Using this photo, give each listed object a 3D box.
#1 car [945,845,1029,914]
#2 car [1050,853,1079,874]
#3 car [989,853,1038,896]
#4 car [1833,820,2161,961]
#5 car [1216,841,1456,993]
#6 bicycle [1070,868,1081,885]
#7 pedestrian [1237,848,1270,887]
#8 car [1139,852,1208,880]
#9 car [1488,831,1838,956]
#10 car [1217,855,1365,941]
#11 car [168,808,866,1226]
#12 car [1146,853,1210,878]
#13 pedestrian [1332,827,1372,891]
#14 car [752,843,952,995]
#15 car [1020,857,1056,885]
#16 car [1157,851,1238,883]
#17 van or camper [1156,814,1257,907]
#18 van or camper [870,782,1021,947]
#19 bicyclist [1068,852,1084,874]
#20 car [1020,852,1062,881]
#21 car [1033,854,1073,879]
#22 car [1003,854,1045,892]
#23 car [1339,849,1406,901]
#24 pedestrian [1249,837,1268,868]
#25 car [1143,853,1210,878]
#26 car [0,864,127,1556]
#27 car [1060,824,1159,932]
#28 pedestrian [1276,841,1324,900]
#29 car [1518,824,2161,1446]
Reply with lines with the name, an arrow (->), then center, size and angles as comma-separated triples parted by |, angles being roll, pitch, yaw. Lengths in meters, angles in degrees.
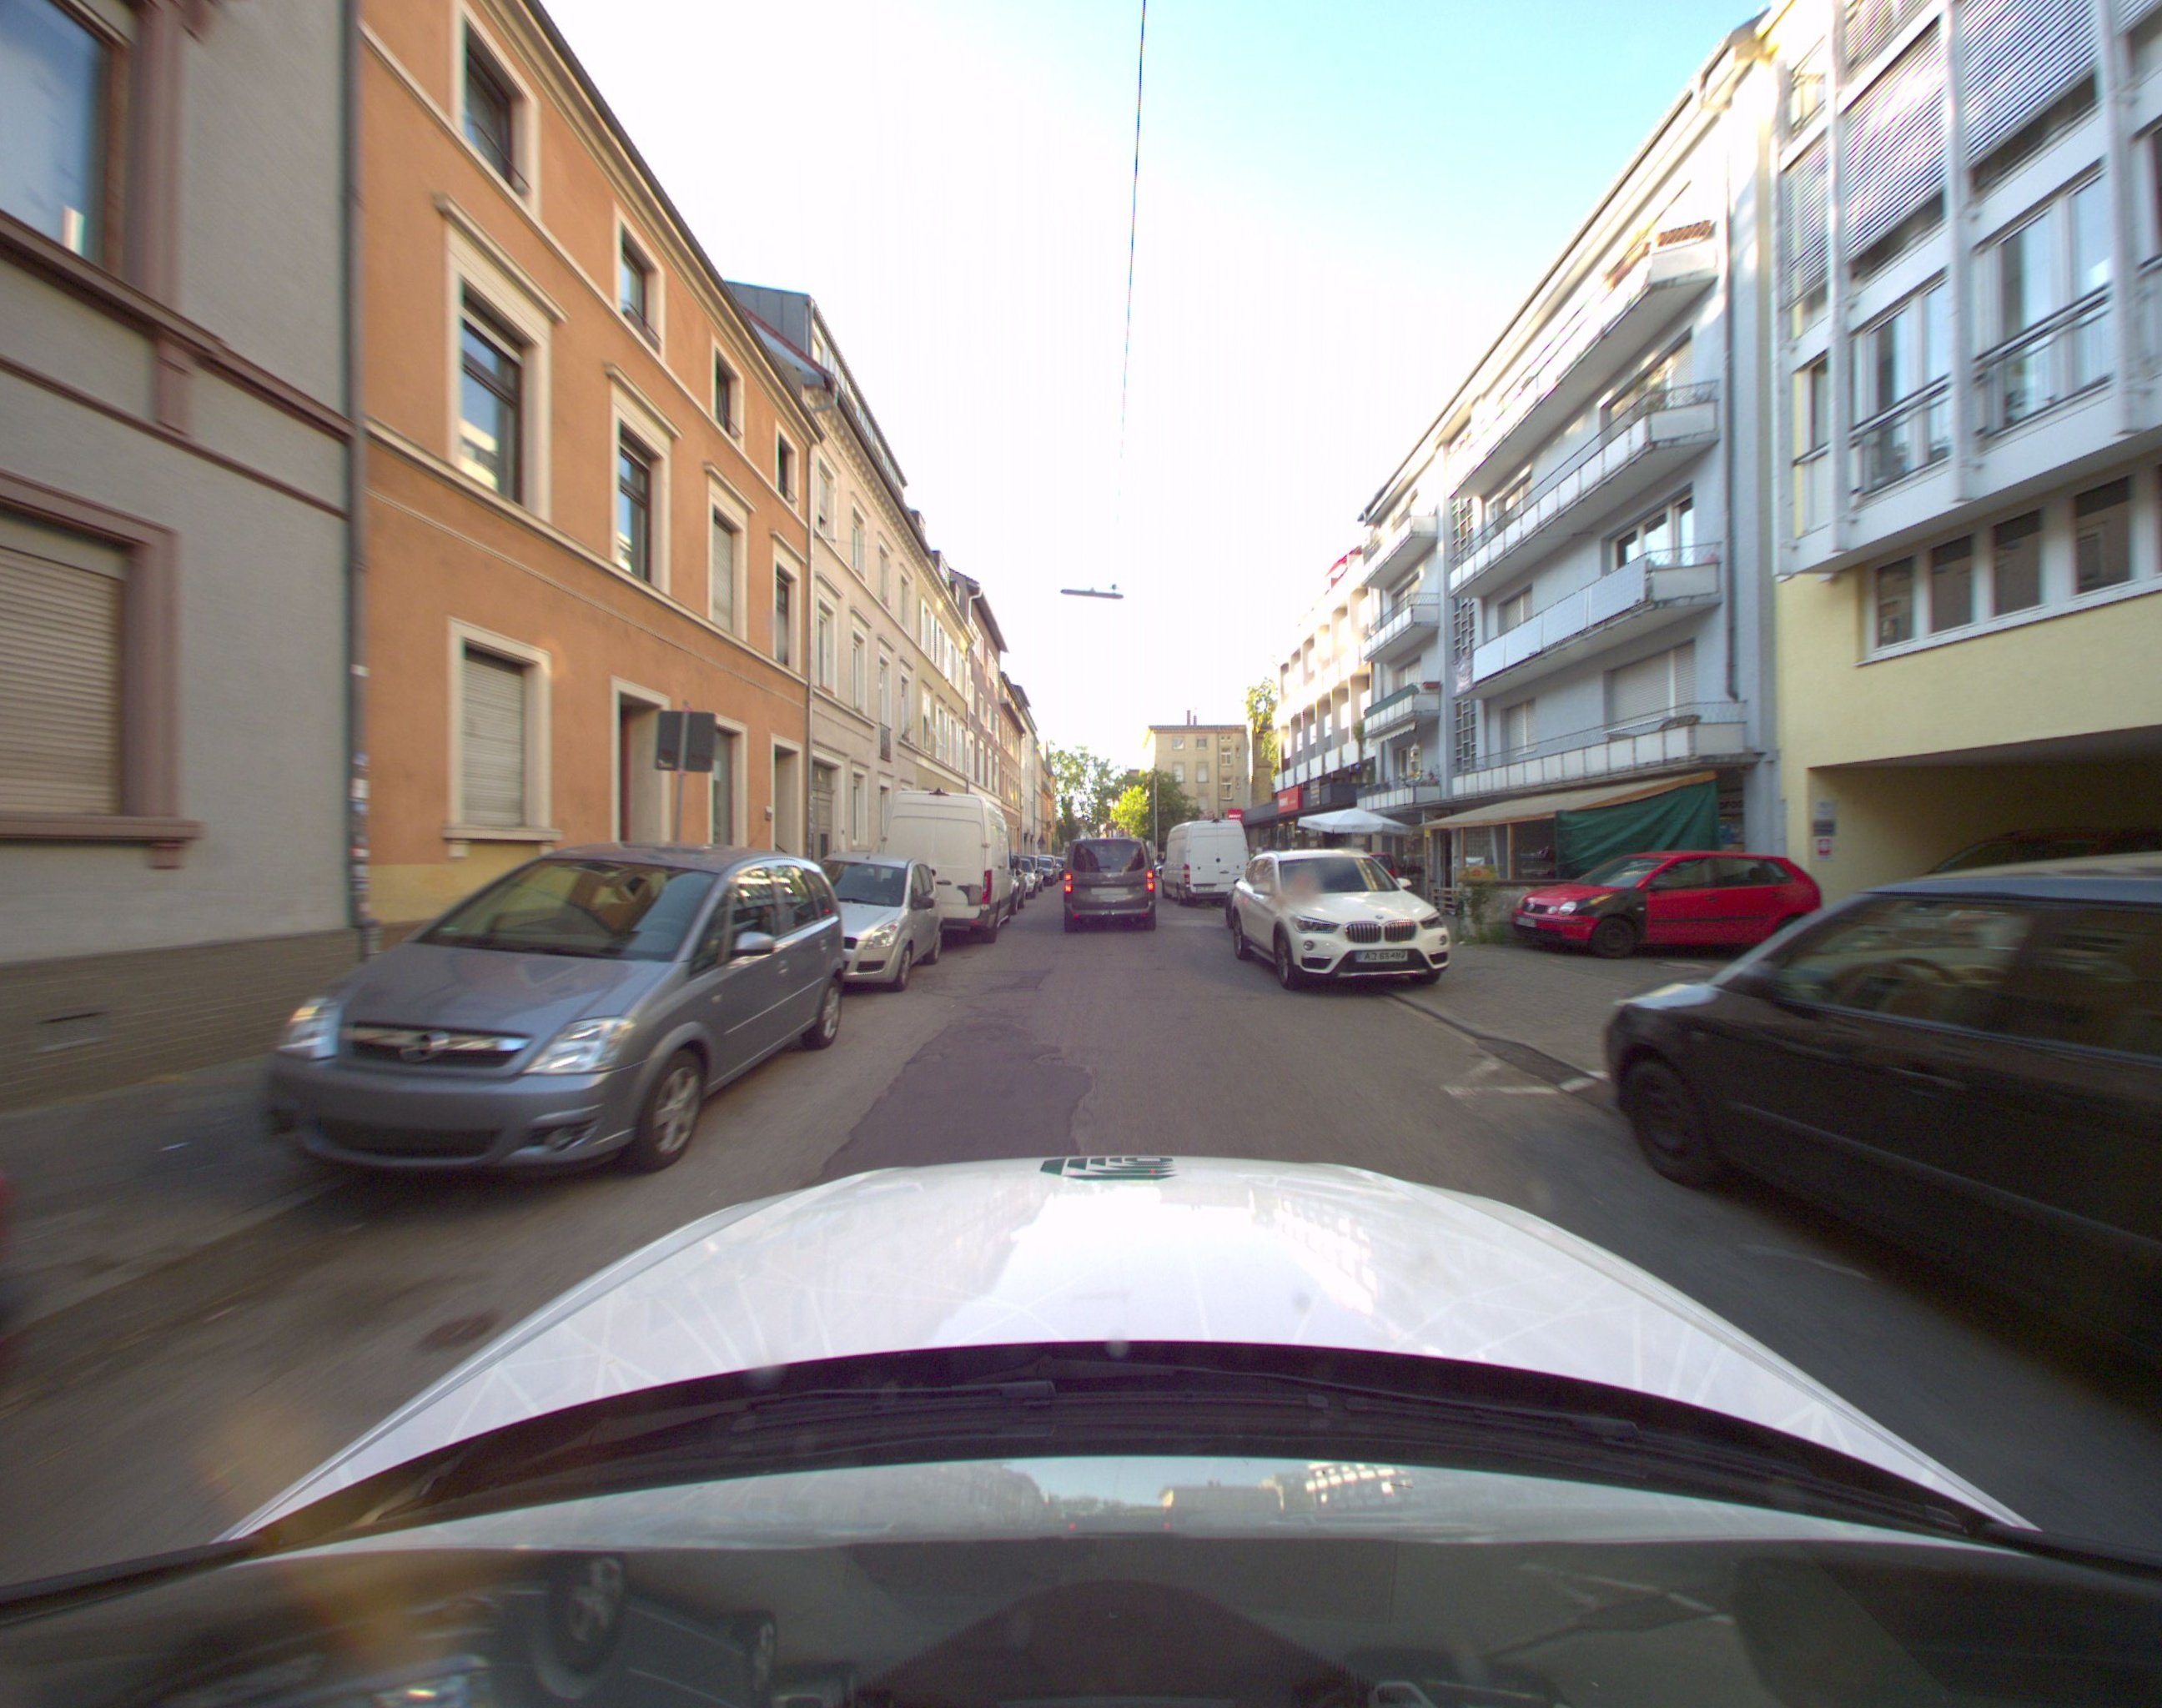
car -> -2.559, 0.659, 23.040 | 1.857, 1.751, 4.292 | 0, 0, 0
car -> -1.265, 0.738, 62.890 | 2.138, 1.560, 4.581 | 0, 0, -2
car -> -2.465, 0.715, 30.612 | 1.707, 1.497, 3.851 | 0, 0, -3
car -> 12.847, 0.425, 10.753 | 4.098, 1.659, 1.998 | -1, 0, -3
car -> 3.106, 0.688, 10.971 | 1.717, 1.612, 4.586 | 0, 0, -1
bicycle -> -0.383, 1.646, 60.336 | 0.618, 1.138, 2.260 | -1, 0, 4
pedestrian -> 7.786, 0.602, 36.802 | 0.939, 1.720, 1.052 | -1, -1, -33
car -> 6.348, 0.821, 56.015 | 4.467, 1.858, 1.881 | 0, 0, -6
car -> 8.237, 0.531, 11.775 | 3.883, 1.607, 1.694 | 1, 0, 0
car -> 3.896, 0.746, 15.844 | 1.717, 1.388, 4.293 | -2, 0, -1
car -> -2.834, 0.674, 5.332 | 1.705, 1.644, 3.979 | 2, 0, 0
car -> 7.391, 0.891, 62.256 | 4.564, 1.858, 1.996 | 0, 0, -6
pedestrian -> 9.261, 0.157, 27.871 | 0.874, 2.145, 0.951 | -1, -1, -15
car -> -2.831, 0.724, 10.878 | 1.585, 1.686, 3.653 | 0, 0, 1
car -> -2.201, 0.859, 43.046 | 1.783, 1.397, 4.464 | 1, 0, -2
car -> 6.865, 0.748, 48.376 | 4.555, 1.858, 2.000 | 0, 0, 0
van or camper -> 3.929, 0.190, 26.981 | 2.093, 2.602, 7.510 | -1, 0, 0
van or camper -> -2.473, 0.177, 16.847 | 1.943, 2.649, 7.138 | -1, 0, -1
bicyclist -> -0.372, 0.684, 60.749 | 1.029, 1.578, 0.834 | -1, 0, 5
car -> -2.274, 0.727, 47.961 | 1.985, 1.605, 4.588 | 0, 0, 3
car -> -1.787, 0.774, 53.858 | 1.983, 1.560, 4.592 | 0, 0, 6
car -> -2.354, 0.766, 34.161 | 1.380, 1.532, 2.752 | 0, 0, 4
car -> 8.605, 0.571, 23.929 | 1.585, 1.416, 3.247 | -1, 0, 24
pedestrian -> 11.173, -0.107, 51.221 | 1.077, 1.945, 0.875 | -1, -1, 18
car -> 6.928, 0.860, 59.552 | 4.564, 1.792, 1.996 | 0, 0, -6
car -> -3.075, 0.708, 0.219 | 1.651, 1.448, 3.285 | 3, 0, 0
car -> 0.574, 0.465, 17.704 | 1.851, 2.013, 4.000 | -2, 0, 0
pedestrian -> 6.064, 0.449, 22.597 | 0.874, 1.555, 0.869 | -3, 0, -21
car -> 3.413, 0.658, 2.836 | 1.614, 1.486, 4.126 | -2, 0, 2
